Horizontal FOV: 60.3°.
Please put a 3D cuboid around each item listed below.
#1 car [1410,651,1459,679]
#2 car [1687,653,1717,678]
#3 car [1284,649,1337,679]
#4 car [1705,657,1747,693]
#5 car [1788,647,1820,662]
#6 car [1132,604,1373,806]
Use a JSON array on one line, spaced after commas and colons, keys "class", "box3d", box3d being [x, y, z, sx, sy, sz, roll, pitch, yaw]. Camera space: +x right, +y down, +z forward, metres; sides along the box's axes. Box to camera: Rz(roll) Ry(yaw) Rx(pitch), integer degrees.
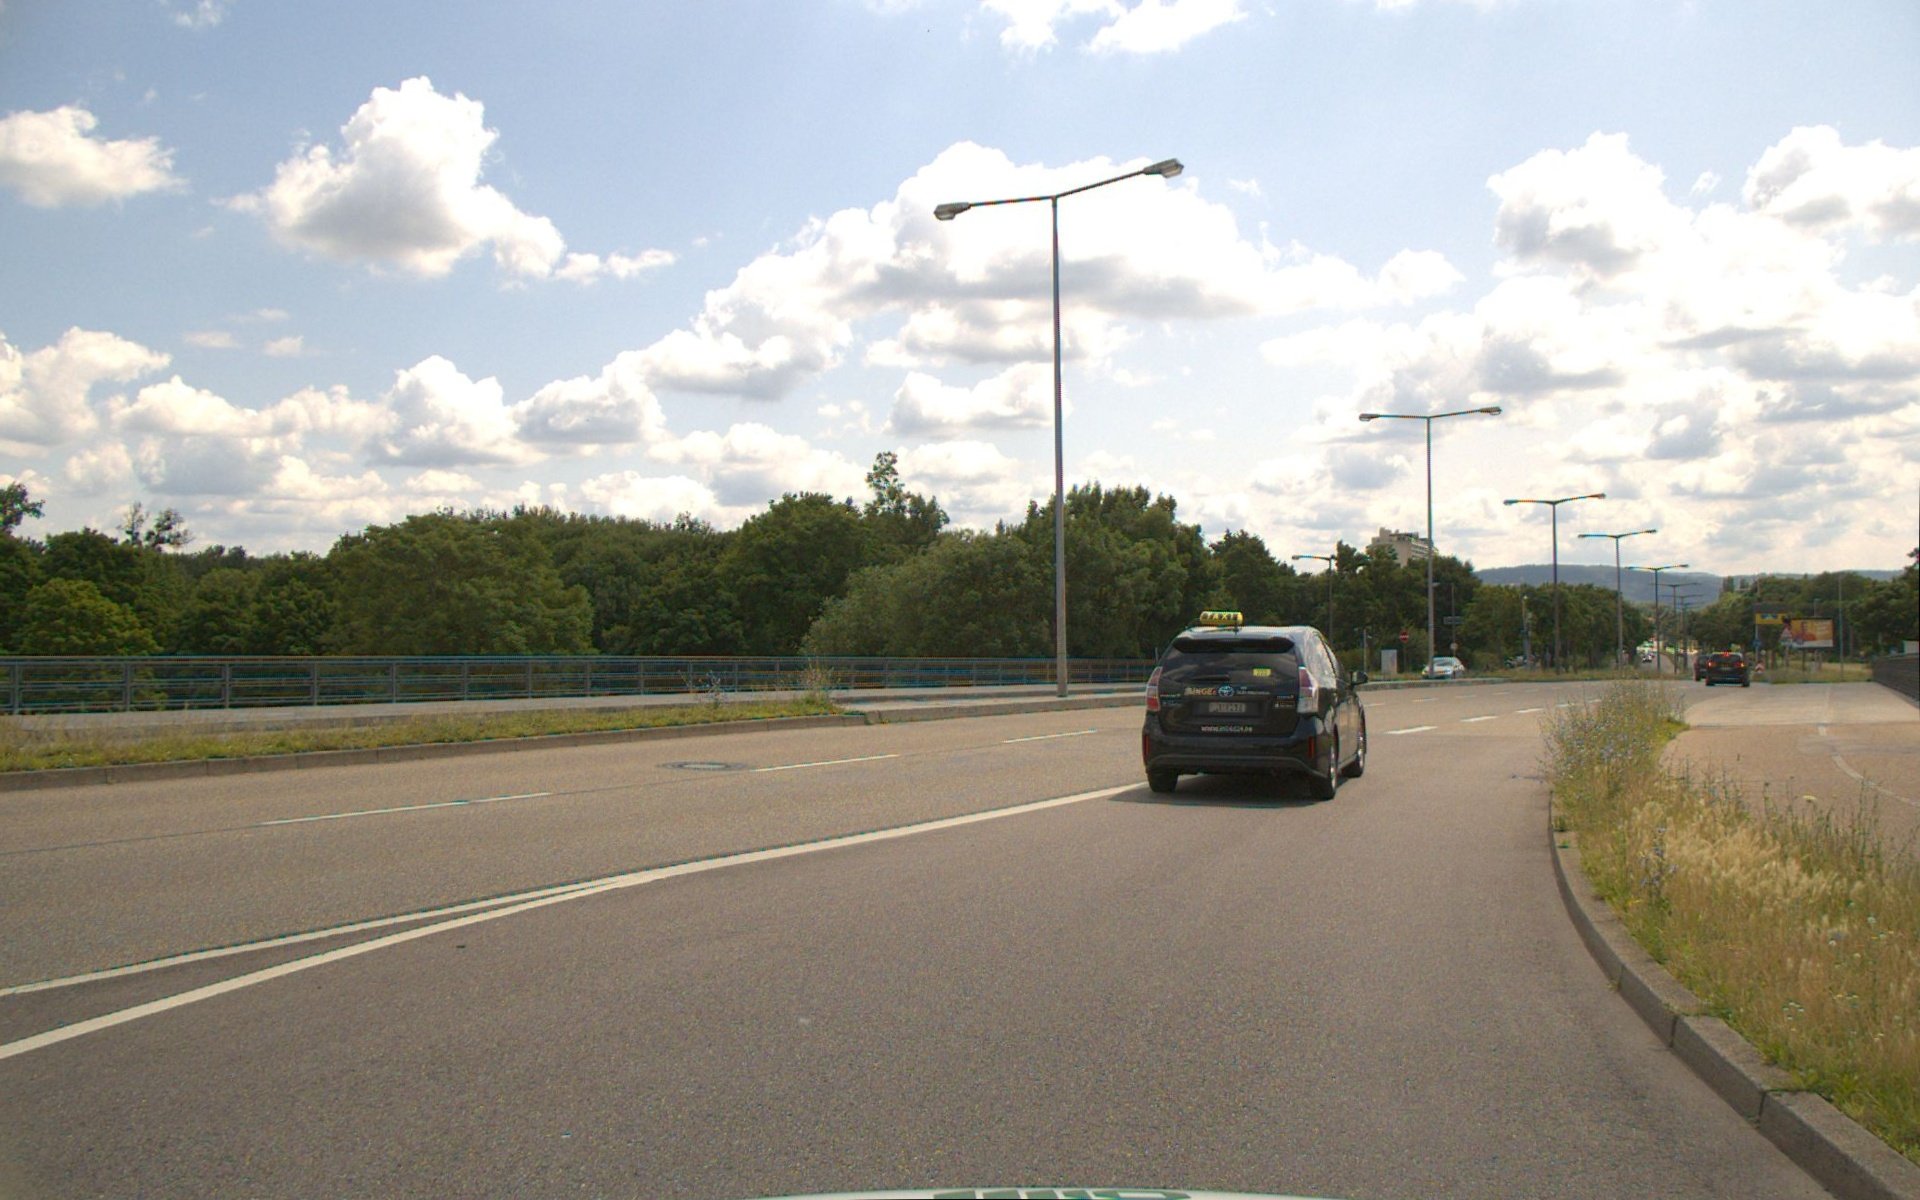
[{"class": "car", "box3d": [26.901, 3.678, 93.685, 1.632, 1.438, 4.542, -4, -3, 29]}, {"class": "car", "box3d": [53.831, 4.727, 120.037, 1.954, 1.691, 3.997, 0, -1, 24]}, {"class": "car", "box3d": [20.825, 3.758, 98.077, 2.047, 1.655, 4.545, 0, -1, 26]}, {"class": "car", "box3d": [40.062, 3.900, 86.567, 1.954, 1.691, 3.997, 0, -1, 24]}, {"class": "car", "box3d": [95.104, 6.129, 186.421, 1.951, 1.691, 4.002, 1, -1, 5]}, {"class": "car", "box3d": [3.010, 0.935, 16.367, 1.742, 1.713, 4.001, 0, -1, 19]}]
